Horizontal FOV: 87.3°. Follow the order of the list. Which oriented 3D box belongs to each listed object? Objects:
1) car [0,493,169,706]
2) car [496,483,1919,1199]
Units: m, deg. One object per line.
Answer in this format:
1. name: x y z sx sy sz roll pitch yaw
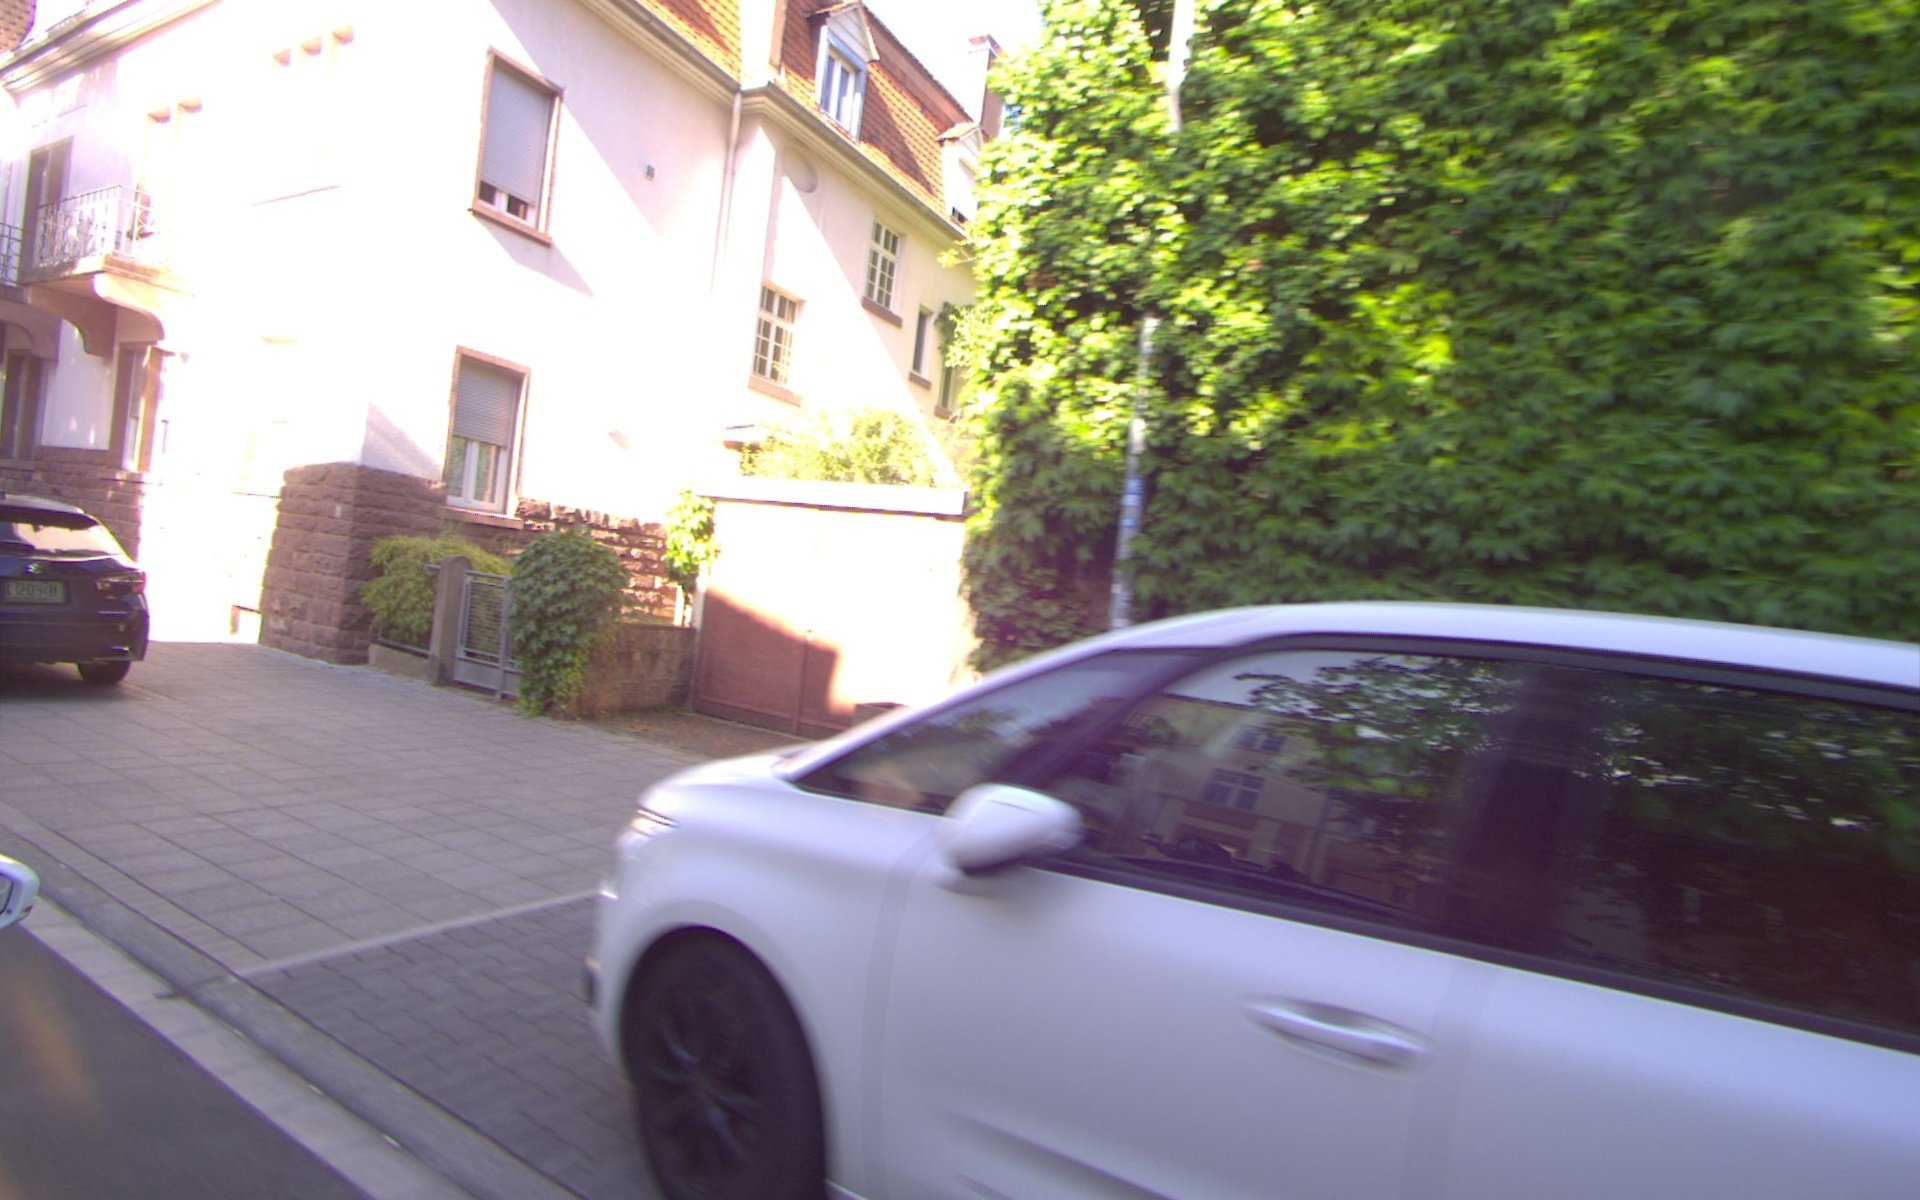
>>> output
1. car: -8.459 -0.205 8.226 4.429 1.471 1.646 7 -1 32
2. car: 1.079 0.782 2.338 4.130 1.665 1.869 7 0 32
